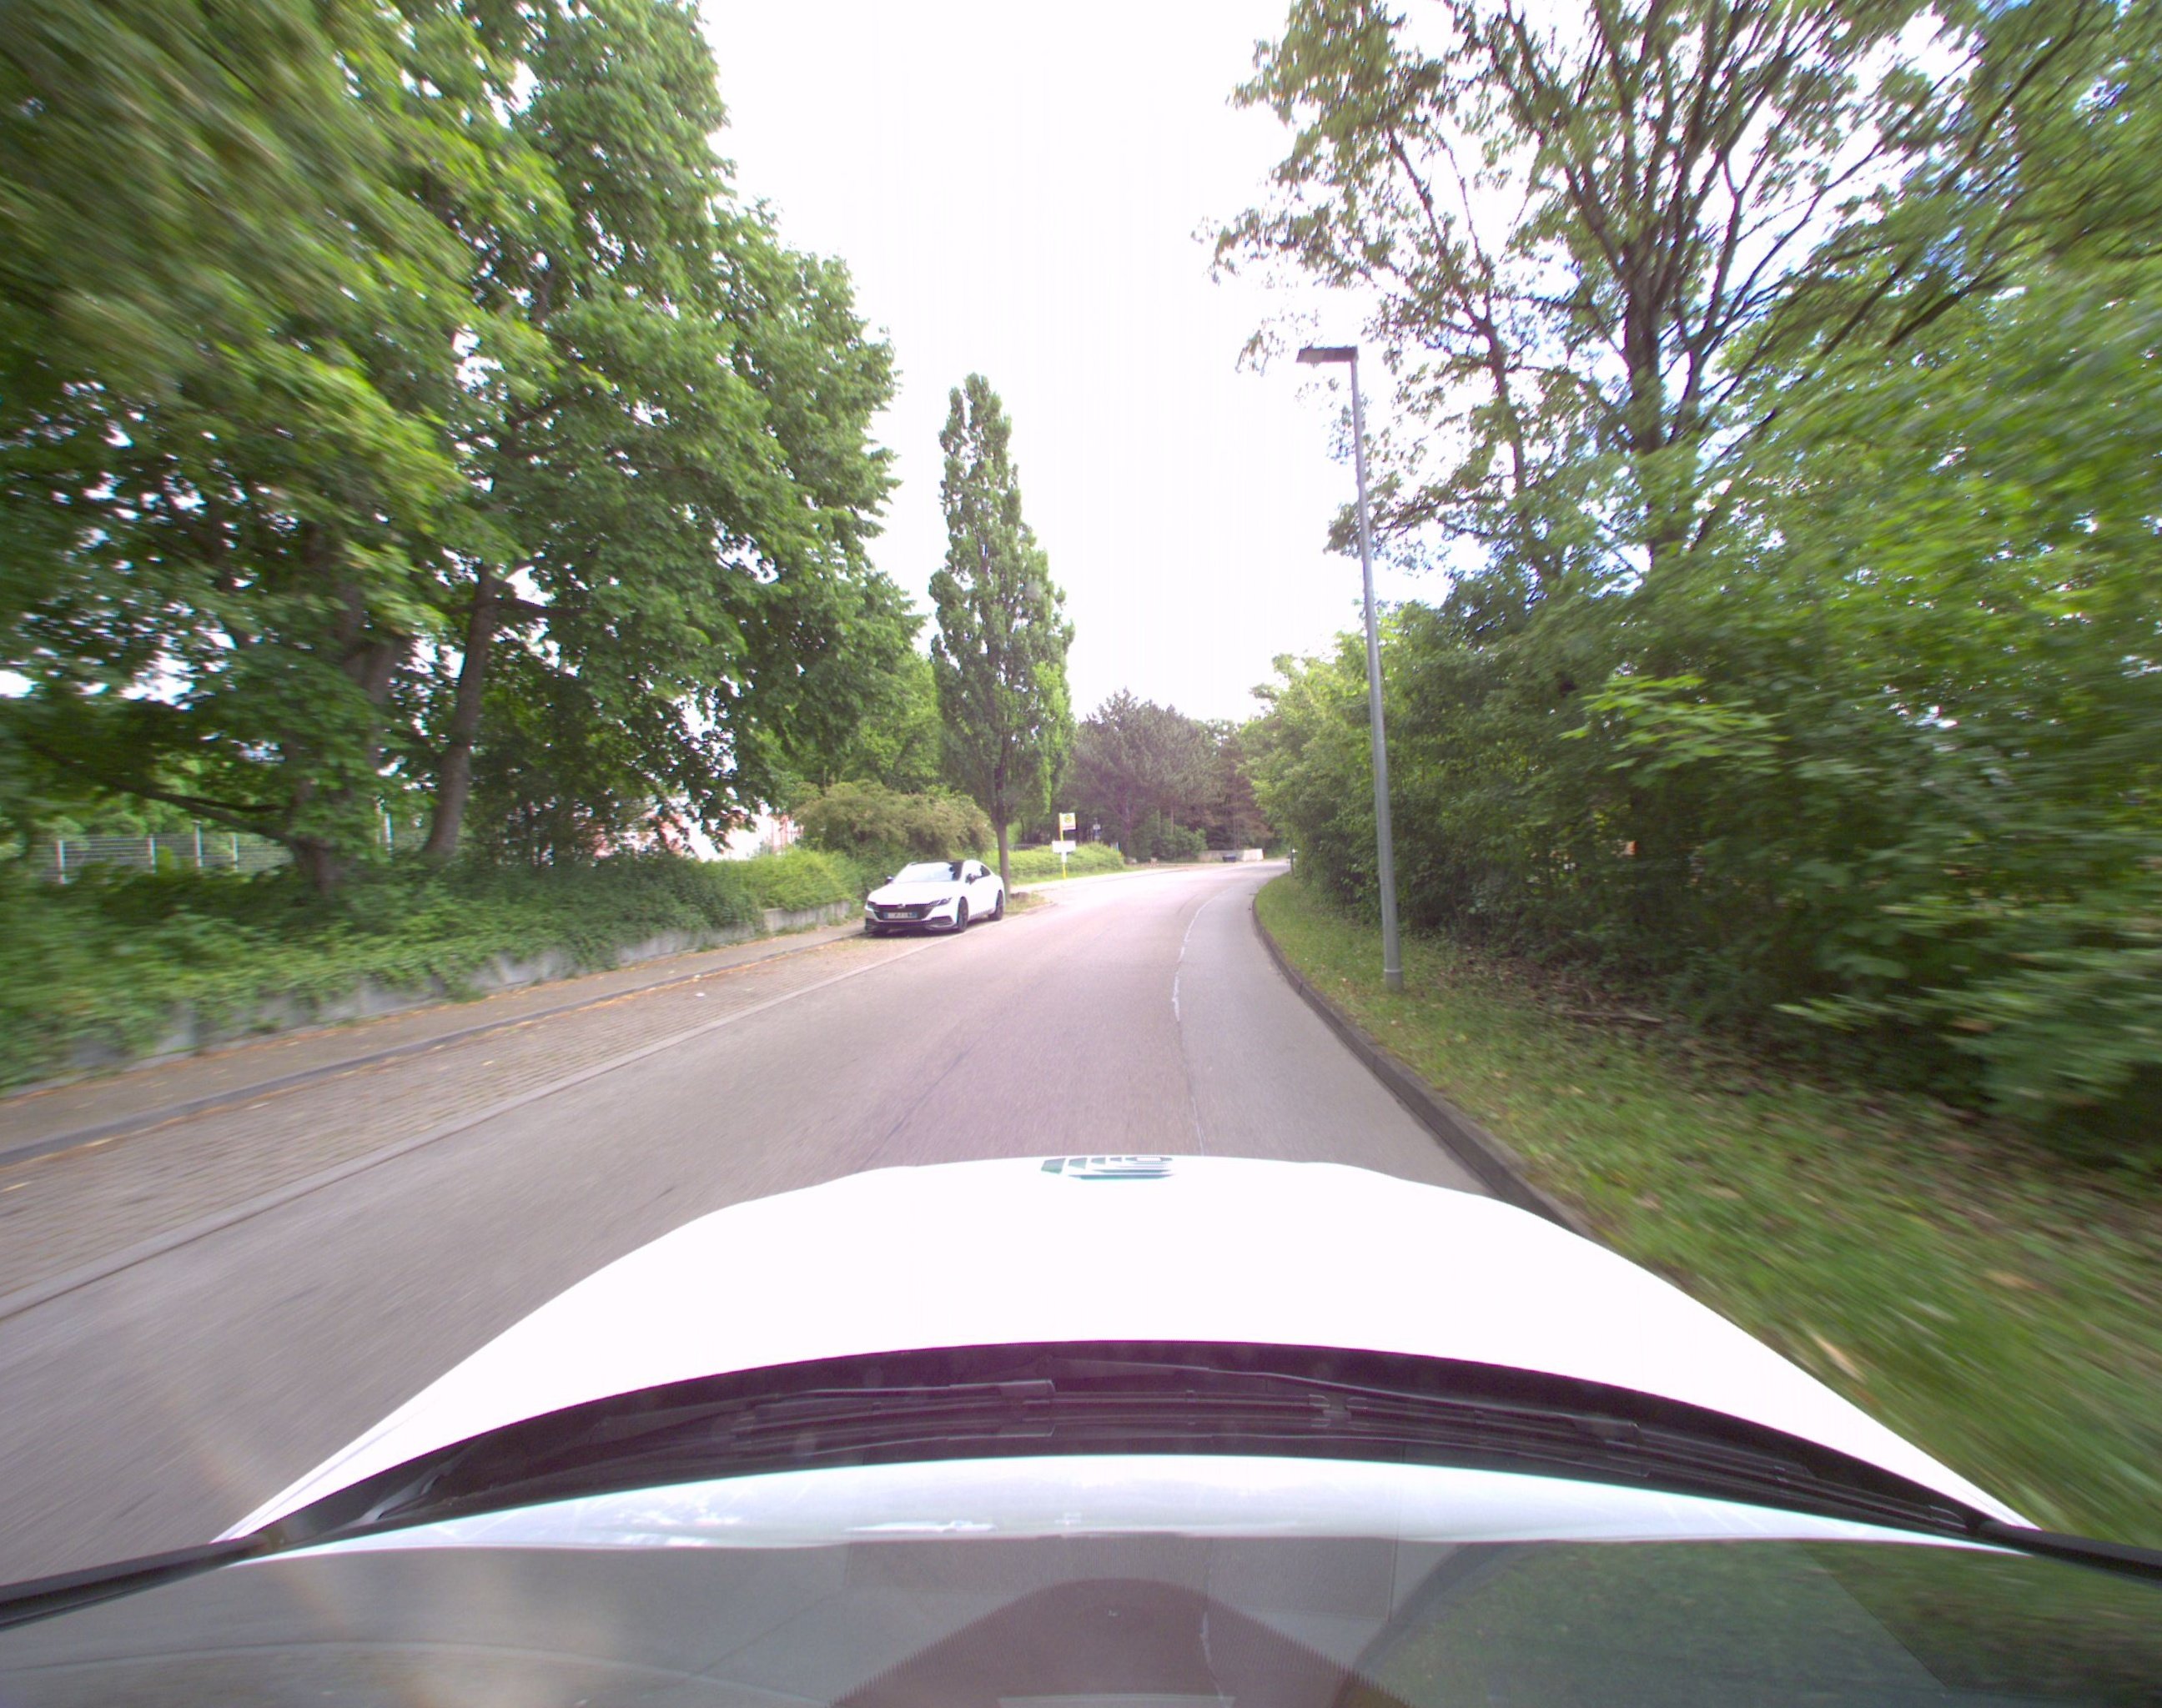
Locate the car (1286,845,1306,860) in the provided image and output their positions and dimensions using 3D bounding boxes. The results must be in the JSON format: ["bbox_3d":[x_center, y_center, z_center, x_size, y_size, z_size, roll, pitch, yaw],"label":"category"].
[{"bbox_3d":[24.186,-0.182,91.437,1.704,1.549,3.743,-3,1,21],"label":"car"}]

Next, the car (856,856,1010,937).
[{"bbox_3d":[-2.910,0.782,17.036,1.803,1.424,4.371,-2,0,8],"label":"car"}]
